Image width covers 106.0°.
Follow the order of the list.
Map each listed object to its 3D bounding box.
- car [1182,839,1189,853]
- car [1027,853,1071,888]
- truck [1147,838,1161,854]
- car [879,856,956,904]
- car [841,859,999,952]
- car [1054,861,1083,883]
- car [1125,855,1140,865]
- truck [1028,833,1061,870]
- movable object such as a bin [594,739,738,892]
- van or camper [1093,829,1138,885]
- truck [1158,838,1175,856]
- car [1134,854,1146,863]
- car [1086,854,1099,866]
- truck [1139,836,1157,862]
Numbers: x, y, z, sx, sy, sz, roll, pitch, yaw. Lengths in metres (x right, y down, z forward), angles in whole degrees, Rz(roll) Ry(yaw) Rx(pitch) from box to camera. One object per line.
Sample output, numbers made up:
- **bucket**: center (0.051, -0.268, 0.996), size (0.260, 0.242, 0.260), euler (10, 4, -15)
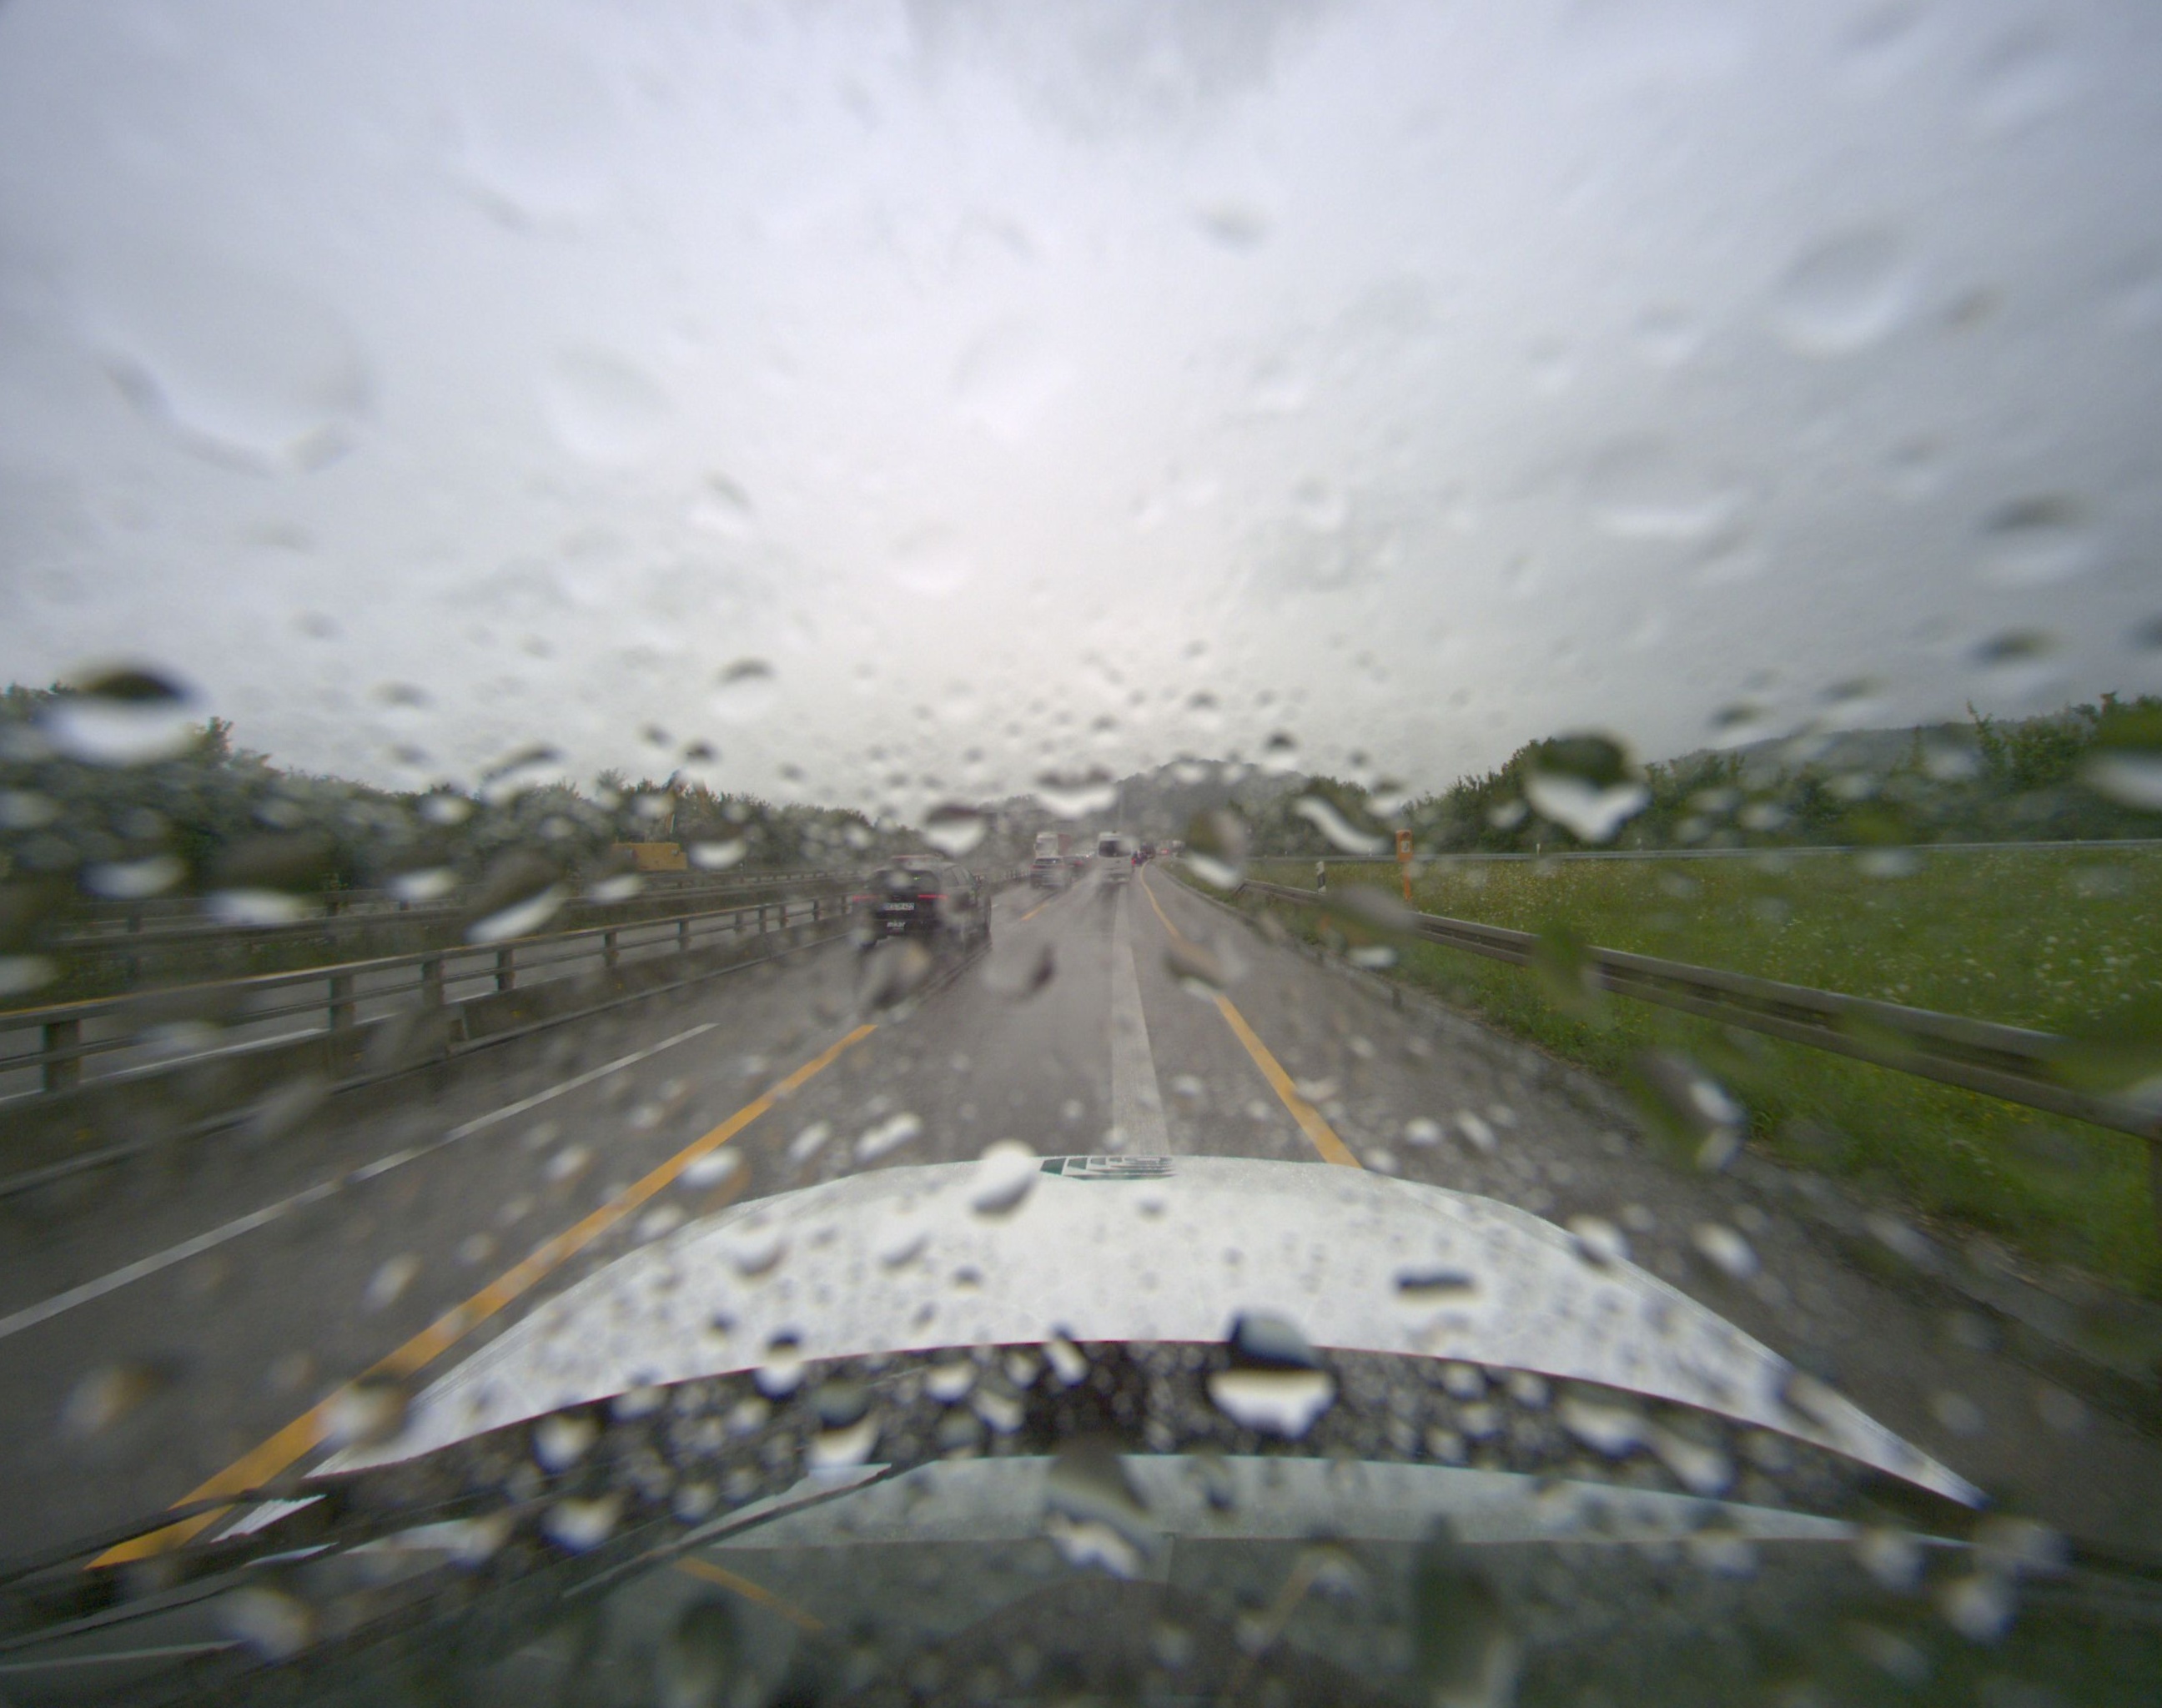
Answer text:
- **car**: center (31.722, -2.309, 246.578), size (2.047, 4.191, 6.759), euler (-1, 0, 7)
- **car**: center (-1.553, 0.785, 40.395), size (1.860, 1.659, 3.989), euler (-1, 0, 2)
- **truck**: center (17.641, -1.826, 196.594), size (3.305, 3.761, 9.920), euler (0, 0, 5)
- **car**: center (-5.741, 0.880, 29.122), size (1.795, 1.593, 4.185), euler (0, 0, 2)
- **car**: center (-2.776, 0.828, 15.171), size (1.932, 1.427, 4.760), euler (-1, 0, 0)
- **car**: center (-0.856, 1.257, 57.834), size (1.845, 1.500, 4.002), euler (-1, 0, 2)
- **car**: center (5.768, 0.714, 91.885), size (1.381, 1.078, 3.120), euler (-1, 0, -2)
- **truck**: center (-4.289, -0.277, 97.941), size (2.994, 4.272, 6.808), euler (-2, 0, 4)
- **movable object such as a bin**: center (-23.906, -2.035, 47.665), size (3.579, 8.143, 8.319), euler (0, -1, 5)
- **van or camper**: center (1.782, 0.170, 42.432), size (2.131, 2.721, 4.650), euler (-1, 0, 2)
- **truck**: center (23.804, -1.872, 226.633), size (3.905, 4.785, 9.932), euler (0, 0, 9)
- **car**: center (8.089, 0.643, 112.214), size (1.379, 1.256, 3.123), euler (-1, 0, 1)
- **car**: center (1.162, 0.604, 81.055), size (1.257, 1.078, 3.256), euler (-1, 0, 2)
- **truck**: center (13.131, -0.902, 159.597), size (3.305, 4.785, 9.920), euler (0, 0, 5)
